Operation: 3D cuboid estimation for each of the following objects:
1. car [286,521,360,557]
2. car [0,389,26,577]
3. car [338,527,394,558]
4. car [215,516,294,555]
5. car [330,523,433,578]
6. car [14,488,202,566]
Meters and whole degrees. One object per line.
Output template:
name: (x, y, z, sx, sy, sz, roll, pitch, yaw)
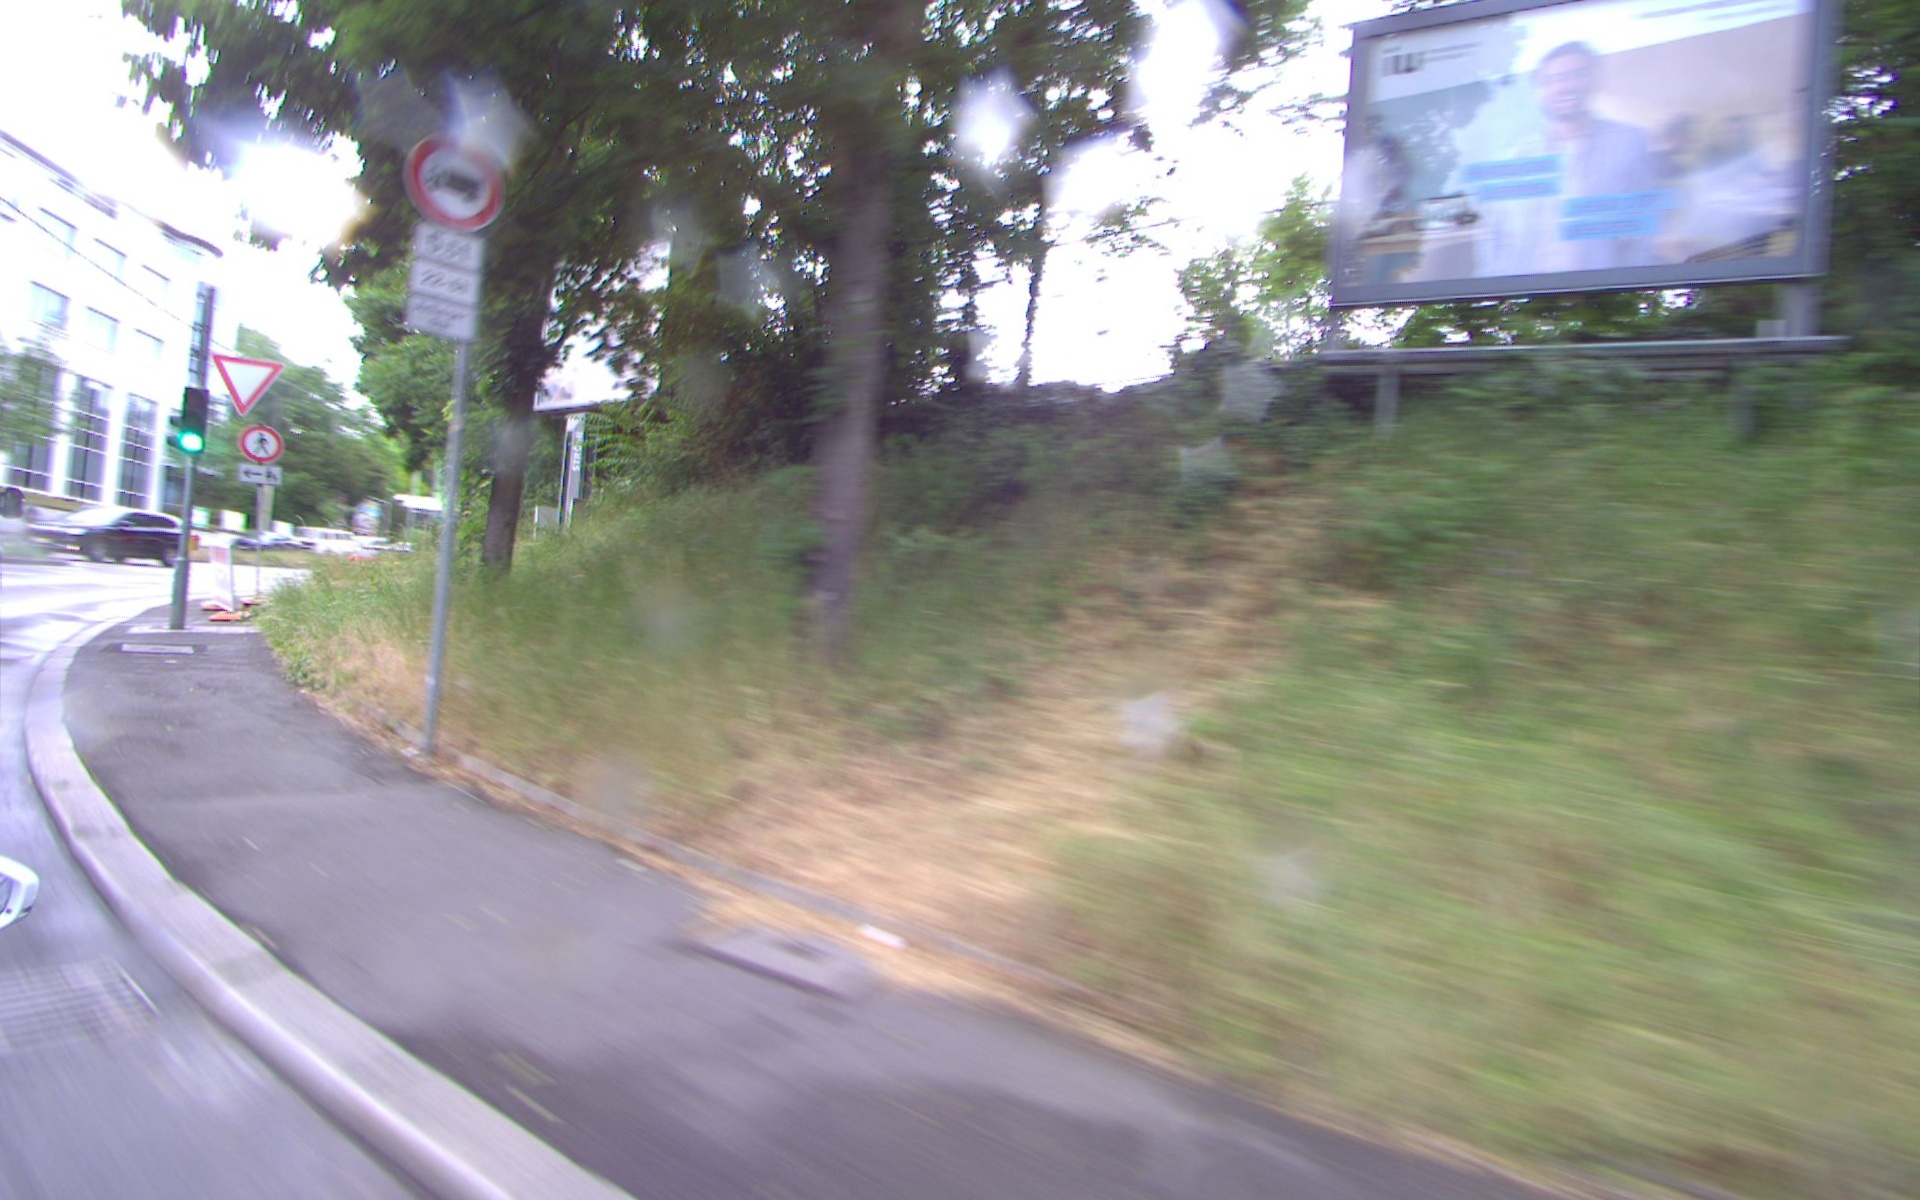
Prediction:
car: (-37.672, -3.560, 59.632, 1.744, 1.768, 4.577, 5, 1, -6)
car: (-11.259, -1.152, 10.126, 2.042, 2.545, 4.891, 9, -2, -38)
car: (-38.139, -3.644, 64.642, 1.568, 1.718, 3.776, 5, 1, -6)
car: (-37.245, -3.377, 53.205, 1.586, 1.744, 3.988, 5, 1, -6)
car: (-20.247, -1.702, 35.349, 1.668, 1.442, 3.369, 6, -2, -3)
car: (-25.092, -2.079, 29.902, 1.663, 1.623, 4.730, 5, -2, -3)
